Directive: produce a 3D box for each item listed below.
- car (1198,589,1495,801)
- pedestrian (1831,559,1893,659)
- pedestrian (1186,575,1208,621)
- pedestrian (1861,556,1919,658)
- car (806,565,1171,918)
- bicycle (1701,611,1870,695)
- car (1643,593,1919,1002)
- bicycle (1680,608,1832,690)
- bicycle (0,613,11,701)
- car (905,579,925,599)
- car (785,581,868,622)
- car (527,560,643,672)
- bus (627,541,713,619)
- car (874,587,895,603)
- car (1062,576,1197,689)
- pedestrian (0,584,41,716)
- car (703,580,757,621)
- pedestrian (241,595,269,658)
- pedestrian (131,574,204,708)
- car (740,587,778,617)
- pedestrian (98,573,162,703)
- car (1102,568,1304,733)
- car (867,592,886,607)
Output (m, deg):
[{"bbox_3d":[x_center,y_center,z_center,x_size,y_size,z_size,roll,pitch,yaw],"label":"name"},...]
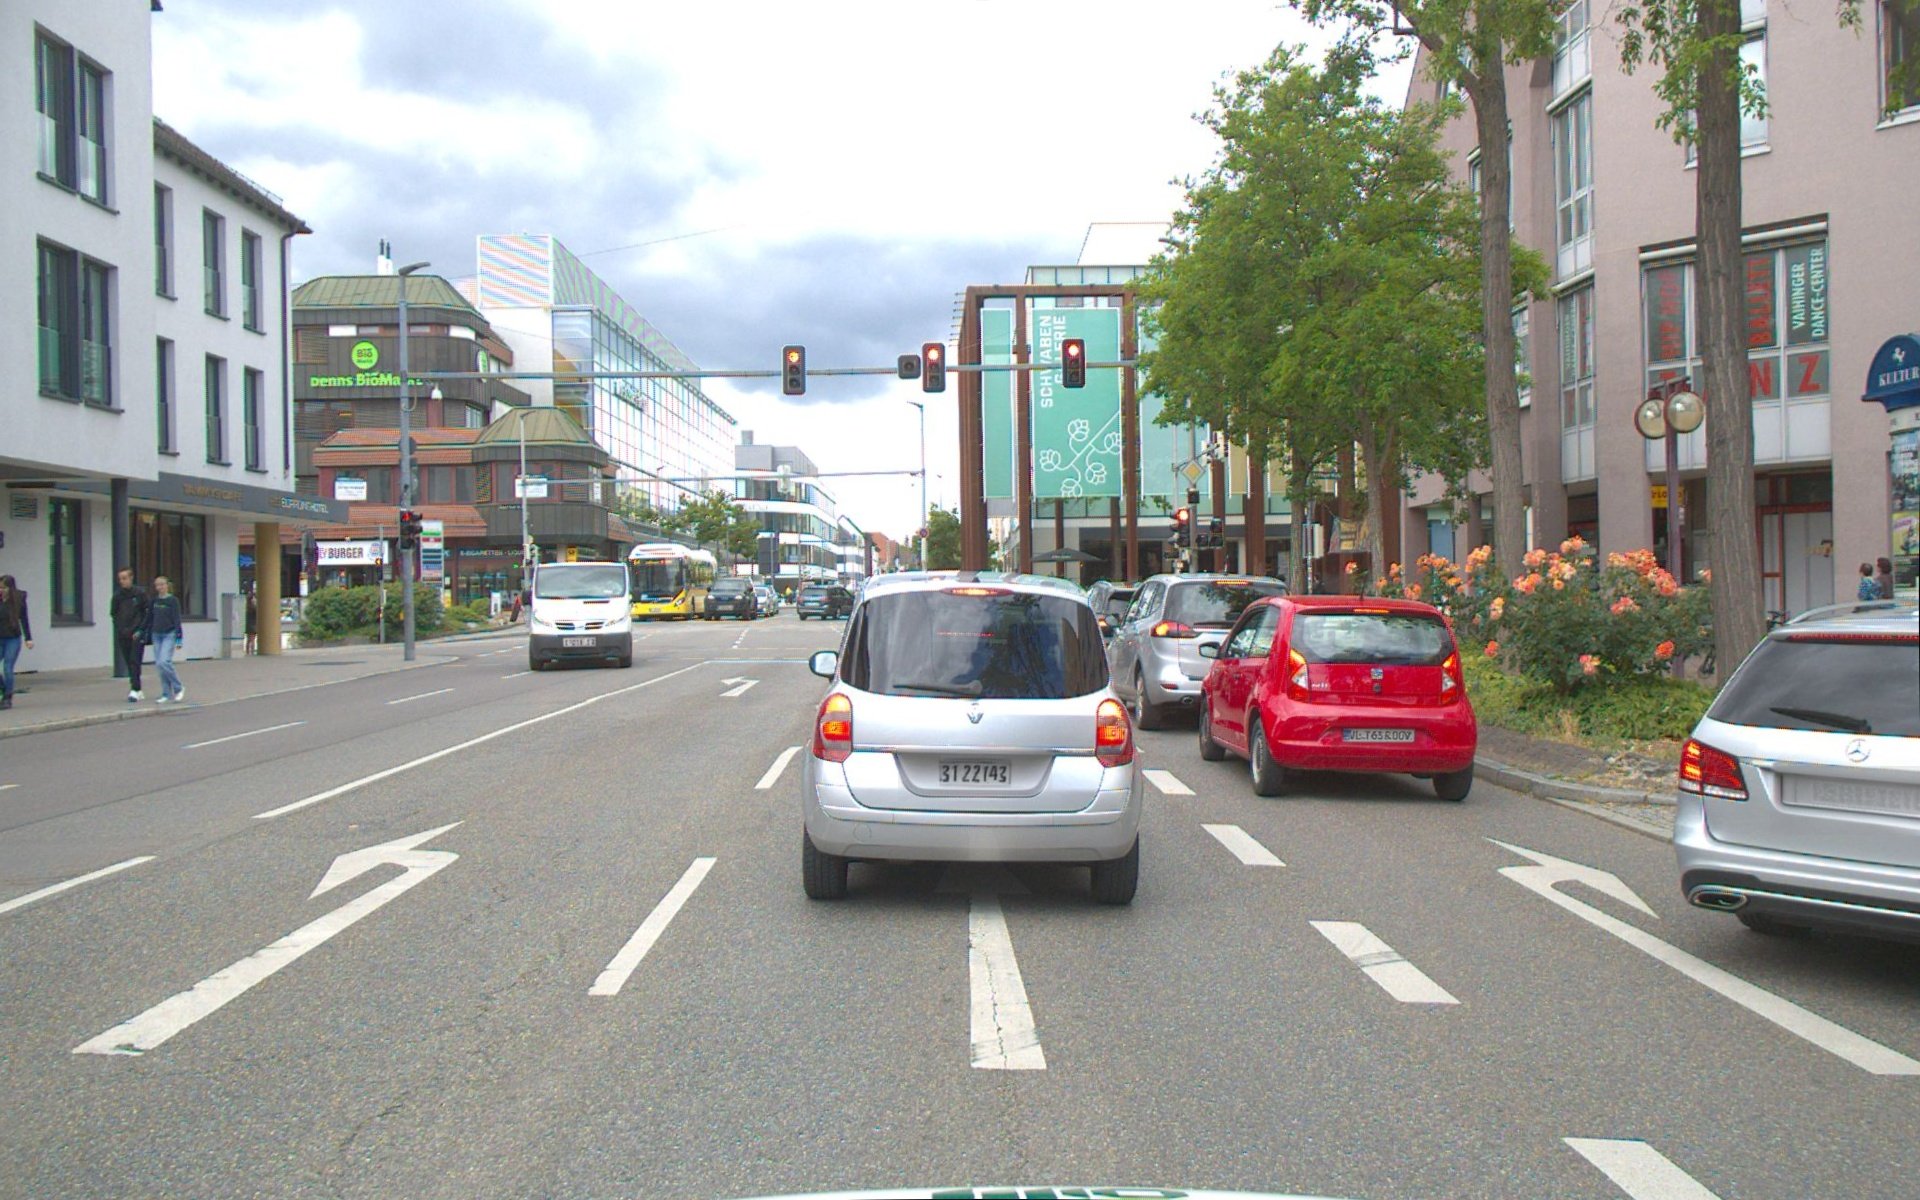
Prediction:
[{"bbox_3d":[2.978,0.663,13.382,1.554,1.468,3.348,1,0,-1],"label":"car"},{"bbox_3d":[14.182,0.136,26.005,0.601,1.542,0.618,0,0,-23],"label":"pedestrian"},{"bbox_3d":[8.792,-0.078,61.322,0.641,1.679,0.557,-1,0,-15],"label":"pedestrian"},{"bbox_3d":[14.802,0.099,26.247,0.653,1.591,0.618,0,0,-23],"label":"pedestrian"},{"bbox_3d":[0.098,0.613,9.026,1.606,1.554,3.393,0,0,-1],"label":"car"},{"bbox_3d":[10.368,0.667,20.800,1.861,1.014,0.468,-1,0,3],"label":"bicycle"},{"bbox_3d":[5.110,0.725,7.616,4.326,1.473,1.796,-1,1,-39],"label":"car"},{"bbox_3d":[10.262,0.627,21.352,1.731,1.014,0.447,-1,0,3],"label":"bicycle"},{"bbox_3d":[-13.393,0.792,22.178,0.379,1.207,1.824,-1,0,-4],"label":"bicycle"},{"bbox_3d":[-4.480,-1.080,164.735,1.953,1.983,4.949,0,1,-2],"label":"car"},{"bbox_3d":[-5.663,0.033,70.792,1.878,1.706,4.242,0,1,21],"label":"car"},{"bbox_3d":[-7.217,0.261,32.038,1.959,1.921,5.142,-2,1,-12],"label":"car"},{"bbox_3d":[-13.154,-0.907,75.648,2.633,3.318,8.650,0,1,-2],"label":"bus"},{"bbox_3d":[-7.211,-0.484,157.906,1.764,1.567,4.065,0,1,1],"label":"car"},{"bbox_3d":[2.584,0.457,25.988,1.555,1.623,3.866,1,0,-2],"label":"car"},{"bbox_3d":[-12.265,0.636,21.335,0.643,1.679,0.555,-1,0,-25],"label":"pedestrian"},{"bbox_3d":[-10.105,-0.009,72.985,1.953,1.735,4.063,0,1,-2],"label":"car"},{"bbox_3d":[-19.190,0.706,45.041,0.653,1.678,0.788,-1,0,-22],"label":"pedestrian"},{"bbox_3d":[-11.000,0.556,22.971,0.668,1.821,0.649,-1,0,-1],"label":"pedestrian"},{"bbox_3d":[-9.775,0.081,80.569,1.524,1.417,3.286,0,1,-2],"label":"car"},{"bbox_3d":[-11.735,0.531,23.400,0.557,1.806,0.646,-1,0,-3],"label":"pedestrian"},{"bbox_3d":[2.657,0.500,18.865,1.555,1.662,3.915,1,0,-2],"label":"car"},{"bbox_3d":[-9.073,-0.041,179.797,1.764,1.567,4.065,0,1,1],"label":"car"}]
